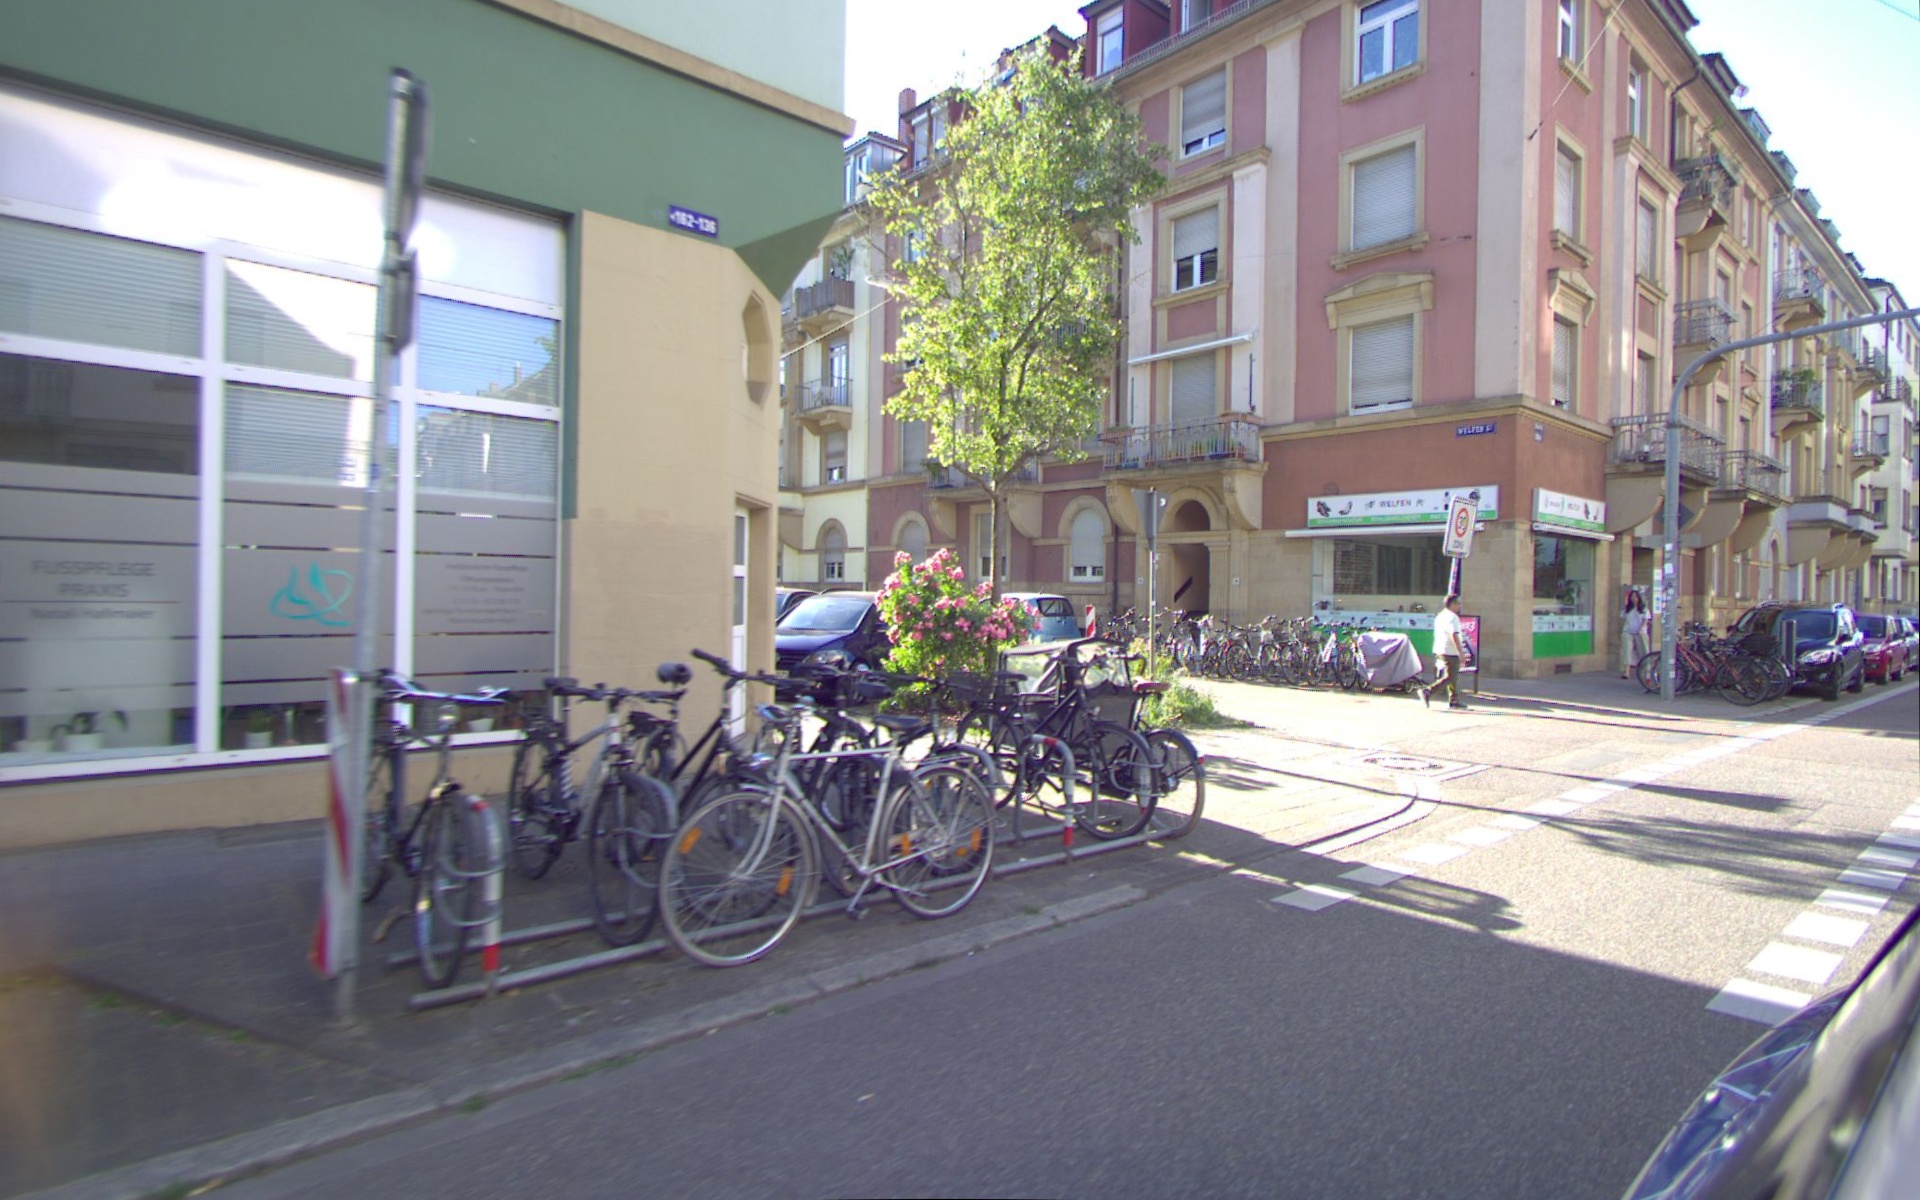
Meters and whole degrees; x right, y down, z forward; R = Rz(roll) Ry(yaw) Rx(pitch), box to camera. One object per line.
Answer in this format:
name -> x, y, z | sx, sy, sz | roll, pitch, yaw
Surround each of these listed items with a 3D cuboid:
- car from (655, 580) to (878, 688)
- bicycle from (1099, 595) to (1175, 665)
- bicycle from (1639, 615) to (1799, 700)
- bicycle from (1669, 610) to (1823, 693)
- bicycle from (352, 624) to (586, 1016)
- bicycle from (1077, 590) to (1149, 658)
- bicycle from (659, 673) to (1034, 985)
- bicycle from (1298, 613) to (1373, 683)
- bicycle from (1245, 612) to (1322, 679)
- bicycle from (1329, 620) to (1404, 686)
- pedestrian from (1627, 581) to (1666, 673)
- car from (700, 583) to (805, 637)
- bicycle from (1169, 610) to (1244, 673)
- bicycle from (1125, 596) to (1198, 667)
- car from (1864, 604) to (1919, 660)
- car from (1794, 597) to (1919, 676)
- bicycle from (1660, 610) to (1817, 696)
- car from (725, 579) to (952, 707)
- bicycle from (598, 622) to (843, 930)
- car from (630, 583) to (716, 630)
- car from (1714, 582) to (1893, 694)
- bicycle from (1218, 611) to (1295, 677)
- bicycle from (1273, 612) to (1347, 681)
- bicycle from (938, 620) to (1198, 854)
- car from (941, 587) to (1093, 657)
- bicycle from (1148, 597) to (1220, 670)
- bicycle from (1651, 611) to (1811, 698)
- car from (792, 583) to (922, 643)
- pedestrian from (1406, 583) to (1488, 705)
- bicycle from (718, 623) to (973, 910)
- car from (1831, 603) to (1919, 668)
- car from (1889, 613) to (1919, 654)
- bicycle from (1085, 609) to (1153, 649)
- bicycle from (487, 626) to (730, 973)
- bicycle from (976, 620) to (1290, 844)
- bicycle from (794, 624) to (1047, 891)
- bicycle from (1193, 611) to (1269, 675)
car -> -3.275, 0.521, 17.846 | 1.746, 1.661, 3.959 | 1, 0, 29
bicycle -> 3.711, 0.606, 21.166 | 1.698, 1.400, 0.628 | 1, 0, -41
bicycle -> 11.944, 0.869, 15.984 | 0.517, 1.175, 1.928 | 1, 2, -40
bicycle -> 13.221, 0.836, 17.080 | 0.517, 1.242, 1.964 | 1, 2, -40
bicycle -> -2.114, 0.766, 4.230 | 0.461, 1.168, 1.727 | 1, 4, -39
bicycle -> 3.291, 0.504, 21.713 | 1.698, 1.400, 0.544 | 1, 0, -41
bicycle -> -0.422, 0.895, 4.415 | 1.697, 1.058, 0.353 | 1, 0, -39
bicycle -> 6.602, 0.812, 17.747 | 1.698, 1.169, 0.468 | 1, 0, -41
bicycle -> 5.946, 0.807, 18.546 | 1.698, 1.169, 0.544 | 1, 0, -41
bicycle -> 7.016, 0.882, 17.434 | 1.698, 1.062, 0.468 | 1, 0, -41
pedestrian -> 13.007, 0.505, 19.175 | 0.440, 1.708, 0.514 | 1, 0, -41
car -> -6.896, 0.289, 33.391 | 1.666, 1.652, 3.994 | 1, 0, -41
bicycle -> 4.846, 0.788, 19.875 | 1.698, 1.169, 0.544 | 1, 0, -41
bicycle -> 4.139, 0.623, 20.729 | 1.698, 1.400, 0.544 | 1, 0, -41
car -> 27.757, 0.896, 29.474 | 4.397, 1.502, 1.657 | 0, 0, -42
car -> 20.424, 0.762, 22.885 | 3.663, 1.614, 1.757 | 0, 0, -40
bicycle -> 12.802, 0.836, 16.706 | 0.517, 1.242, 1.964 | 1, 2, -40
car -> -1.629, 0.532, 15.037 | 1.622, 1.599, 4.048 | 1, 0, 22
bicycle -> -1.284, 0.775, 5.150 | 0.461, 1.168, 1.727 | 1, 4, -39
car -> -10.796, 0.219, 37.928 | 1.590, 1.652, 3.994 | 1, 0, -41
car -> 15.827, 0.627, 18.917 | 4.427, 1.756, 1.758 | 0, 4, -40
bicycle -> 5.568, 0.801, 18.976 | 1.698, 1.169, 0.544 | 1, 0, -41
bicycle -> 6.287, 0.812, 18.134 | 1.698, 1.169, 0.468 | 1, 0, -41
bicycle -> 0.633, 0.801, 6.631 | 0.461, 1.168, 1.848 | 1, 4, -39
car -> 1.291, 0.466, 23.942 | 1.612, 1.515, 3.499 | 1, 0, -41
bicycle -> 4.502, 0.650, 20.297 | 1.698, 1.400, 0.491 | 1, 0, -41
bicycle -> 12.398, 0.837, 16.330 | 0.517, 1.242, 1.964 | 1, 2, -40
car -> -3.011, 0.330, 29.004 | 1.666, 1.571, 4.064 | 1, 0, -41
pedestrian -> 6.882, 0.605, 14.313 | 0.688, 1.654, 0.733 | -1, -1, -13
bicycle -> -0.690, 0.788, 5.479 | 0.461, 1.168, 1.727 | 1, 4, -39
car -> 24.107, 0.864, 26.256 | 4.395, 1.532, 1.657 | 0, 0, -41
car -> 31.872, 1.069, 33.008 | 4.422, 1.265, 1.658 | 0, 0, -38
bicycle -> 3.838, 0.687, 24.561 | 0.481, 0.890, 1.726 | 1, 0, -40
bicycle -> -1.692, 0.789, 4.685 | 0.461, 1.168, 1.727 | 1, 4, -39
bicycle -> 1.127, 0.808, 7.092 | 0.833, 1.168, 2.092 | 1, 3, -40
bicycle -> -0.296, 0.804, 5.846 | 0.461, 1.168, 1.727 | 1, 4, -39
bicycle -> 5.204, 0.797, 19.414 | 1.698, 1.169, 0.544 | 1, 0, -41
